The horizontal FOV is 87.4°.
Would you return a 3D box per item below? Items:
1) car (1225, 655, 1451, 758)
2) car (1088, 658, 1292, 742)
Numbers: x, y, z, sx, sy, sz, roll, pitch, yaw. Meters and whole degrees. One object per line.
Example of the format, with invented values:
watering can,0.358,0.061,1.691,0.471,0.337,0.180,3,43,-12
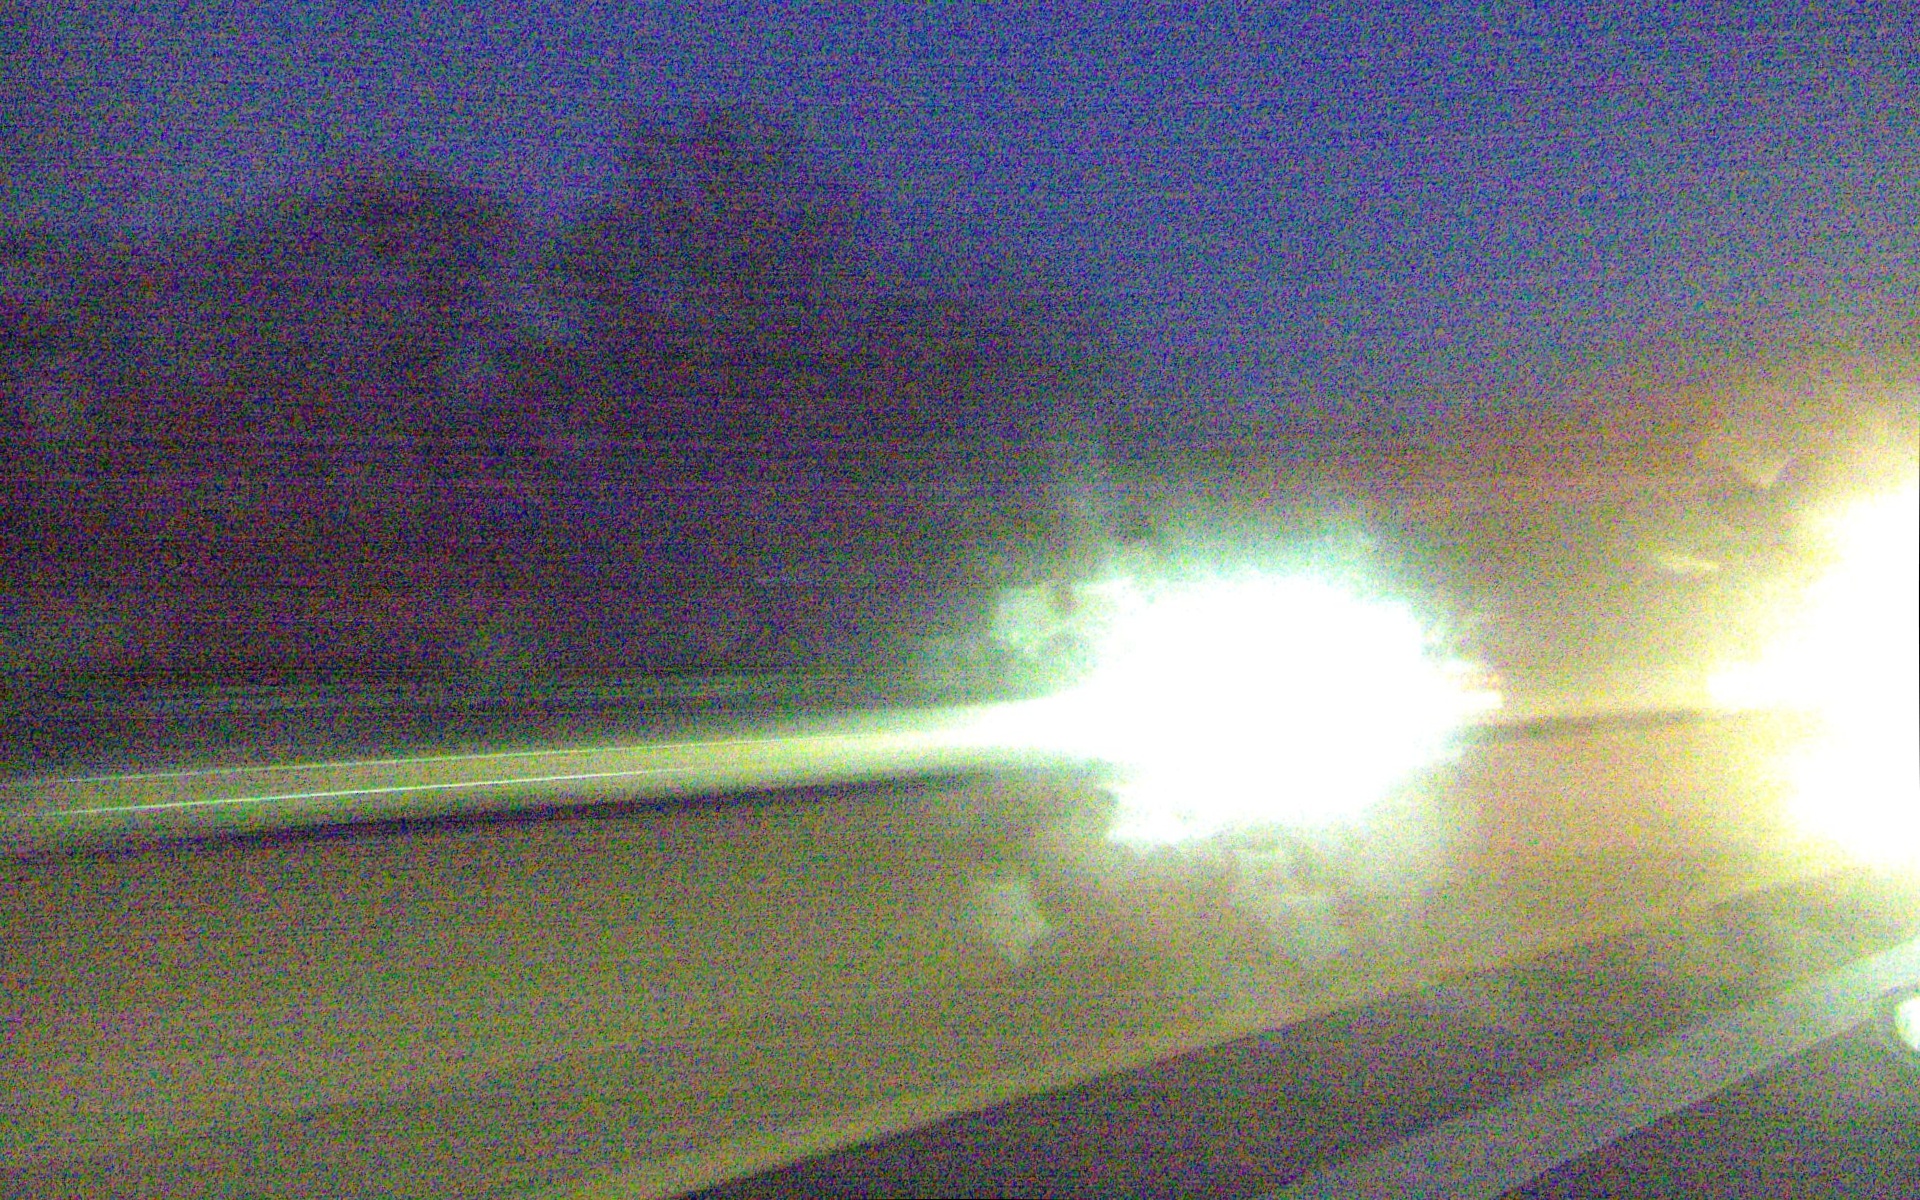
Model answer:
car,6.607,1.769,17.509,3.750,1.528,1.726,1,-2,-30
car,4.917,2.045,21.297,4.222,1.528,1.683,1,-2,-30
